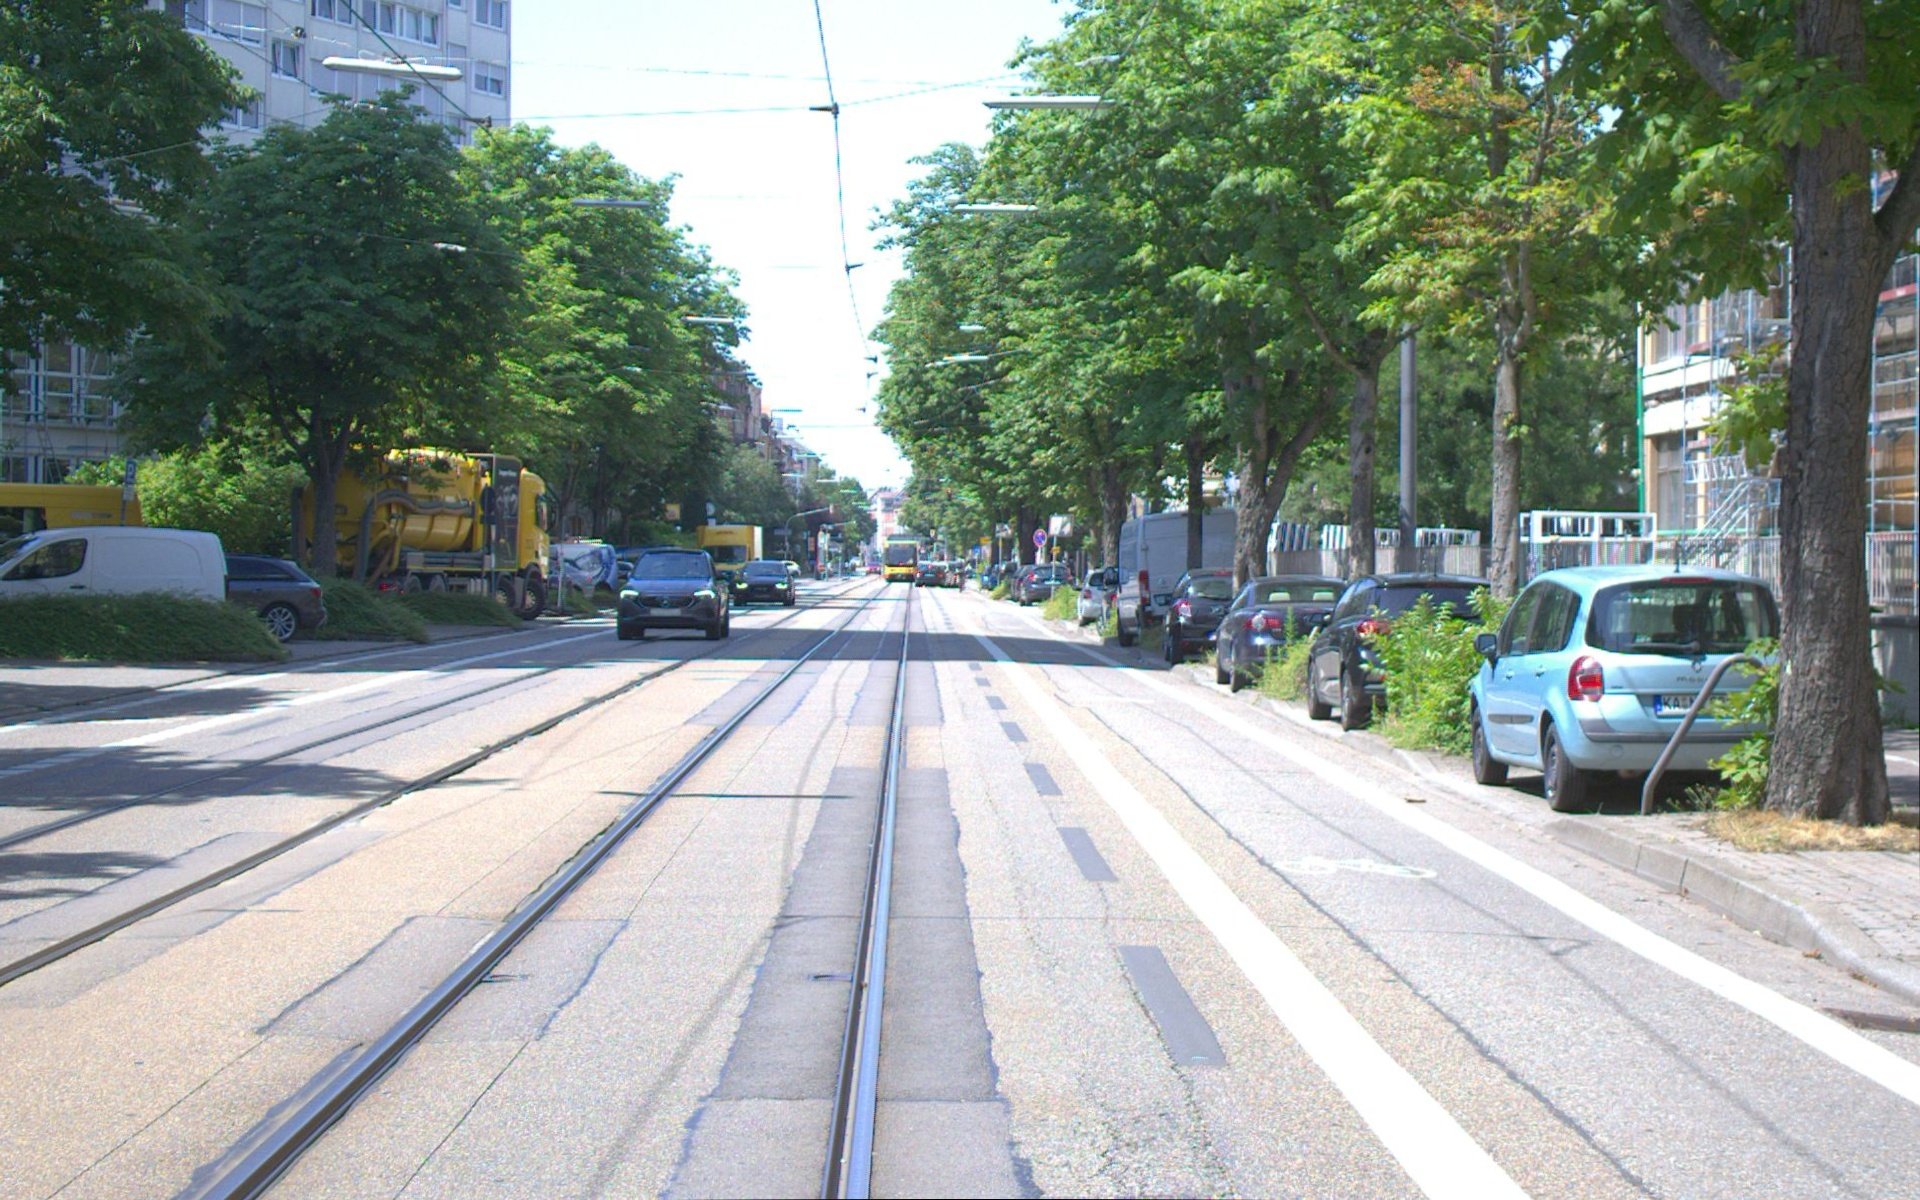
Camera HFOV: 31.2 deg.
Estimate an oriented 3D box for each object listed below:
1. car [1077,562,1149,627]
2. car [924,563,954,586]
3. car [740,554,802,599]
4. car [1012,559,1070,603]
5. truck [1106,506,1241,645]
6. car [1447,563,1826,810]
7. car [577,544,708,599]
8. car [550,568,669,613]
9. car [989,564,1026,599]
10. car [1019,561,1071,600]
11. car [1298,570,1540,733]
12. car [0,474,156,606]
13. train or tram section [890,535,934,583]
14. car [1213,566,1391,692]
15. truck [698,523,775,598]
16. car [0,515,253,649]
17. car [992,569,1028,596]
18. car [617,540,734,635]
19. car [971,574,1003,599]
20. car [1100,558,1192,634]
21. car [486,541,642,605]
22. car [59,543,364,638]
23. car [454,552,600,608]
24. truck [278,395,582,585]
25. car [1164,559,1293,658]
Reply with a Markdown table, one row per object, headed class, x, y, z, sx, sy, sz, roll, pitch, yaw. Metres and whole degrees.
| class | x | y | z | sx | sy | sz | roll | pitch | yaw |
| --- | --- | --- | --- | --- | --- | --- | --- | --- | --- |
| car | 3.738 | -0.147 | 84.457 | 1.644 | 1.529 | 3.785 | 1 | 1 | 1 |
| car | -1.248 | -1.503 | 204.762 | 1.781 | 1.341 | 3.416 | 1 | 1 | 0 |
| car | -5.981 | -0.765 | 109.185 | 1.774 | 1.392 | 4.287 | 0 | 1 | -1 |
| car | 2.762 | -0.652 | 118.259 | 1.639 | 1.480 | 3.873 | 0 | 0 | -4 |
| truck | 3.976 | -0.492 | 64.892 | 2.014 | 2.480 | 5.956 | 1 | 1 | -1 |
| car | 4.561 | 0.524 | 23.757 | 1.671 | 1.512 | 4.202 | 1 | 1 | -2 |
| car | -12.333 | -1.099 | 133.746 | 4.748 | 2.055 | 2.026 | -1 | 1 | -39 |
| car | -12.310 | -0.343 | 120.998 | 1.761 | 1.428 | 3.990 | -2 | 0 | 42 |
| car | 2.191 | -0.864 | 159.447 | 1.592 | 1.611 | 3.908 | 0 | 0 | -1 |
| car | 3.223 | -0.739 | 131.071 | 1.876 | 1.450 | 4.528 | 0 | 0 | 0 |
| car | 4.346 | 0.448 | 33.071 | 1.671 | 1.433 | 4.042 | 1 | 1 | -2 |
| car | -19.519 | -1.231 | 69.820 | 2.182 | 2.557 | 6.713 | 1 | -1 | 29 |
| train or tram section | -3.508 | -3.035 | 253.736 | 3.035 | 3.427 | 11.970 | 1 | 1 | 0 |
| car | 4.263 | 0.324 | 43.418 | 1.824 | 1.466 | 4.486 | 1 | 1 | 1 |
| truck | -8.687 | -1.561 | 134.206 | 2.360 | 2.843 | 7.378 | 0 | 1 | 1 |
| car | -12.506 | -0.273 | 48.461 | 4.533 | 1.785 | 1.901 | 1 | 1 | -33 |
| car | 2.588 | -0.905 | 178.691 | 1.710 | 1.418 | 4.310 | 0 | 0 | -1 |
| car | -5.197 | -0.253 | 63.218 | 1.831 | 1.675 | 4.185 | 0 | 1 | -1 |
| car | 1.561 | -0.780 | 196.796 | 1.710 | 1.418 | 4.310 | 0 | 0 | -1 |
| car | 3.899 | -0.105 | 72.612 | 1.644 | 1.529 | 3.947 | 1 | 1 | -1 |
| car | -12.374 | -0.864 | 107.610 | 1.920 | 1.928 | 4.745 | -1 | 0 | 42 |
| car | -12.026 | -0.139 | 55.389 | 4.434 | 1.390 | 1.772 | 1 | 1 | -39 |
| car | -11.881 | -0.556 | 94.429 | 1.761 | 1.502 | 3.700 | 0 | 1 | 42 |
| truck | -11.801 | -2.351 | 77.958 | 2.717 | 3.828 | 10.957 | 2 | 0 | 13 |
| car | 4.201 | 0.101 | 54.293 | 1.824 | 1.466 | 4.400 | 1 | 1 | 2 |
